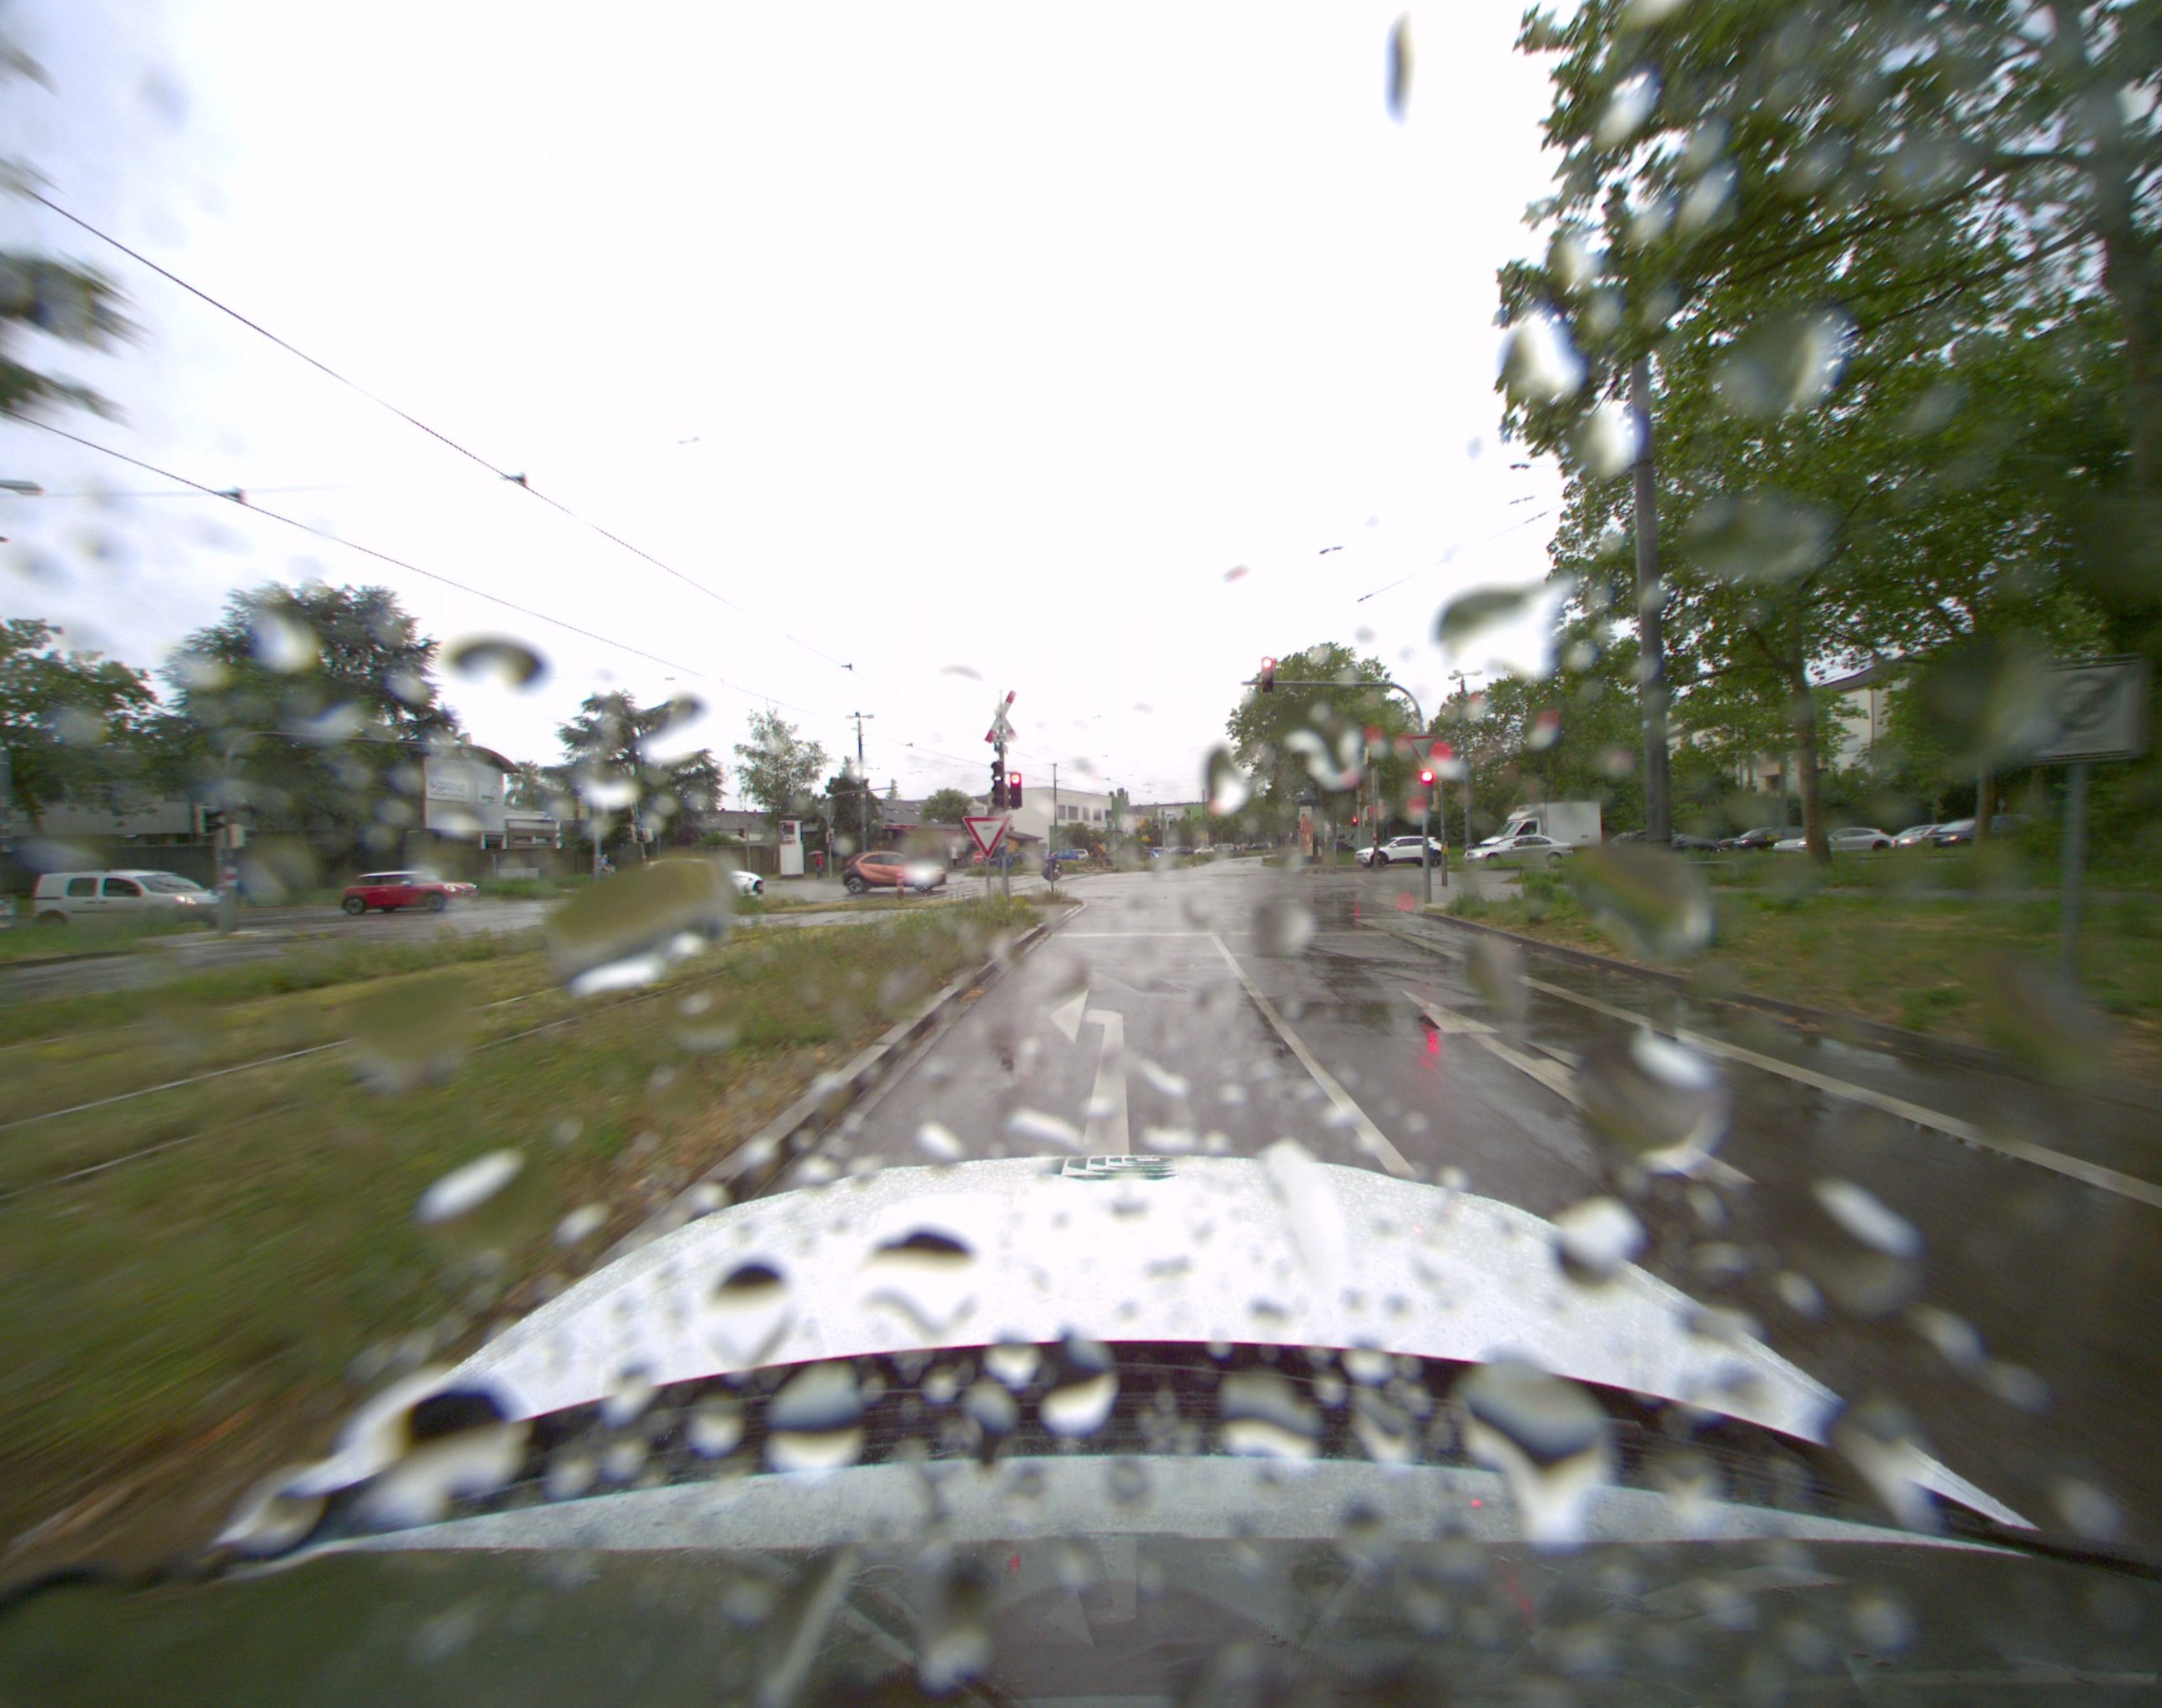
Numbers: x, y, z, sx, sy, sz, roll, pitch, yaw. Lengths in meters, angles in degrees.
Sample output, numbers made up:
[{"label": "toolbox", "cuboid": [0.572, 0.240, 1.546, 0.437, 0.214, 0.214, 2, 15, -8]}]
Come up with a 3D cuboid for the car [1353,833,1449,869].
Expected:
[{"label": "car", "cuboid": [16.948, -0.155, 43.218, 4.450, 1.656, 1.650, -2, 0, -3]}]

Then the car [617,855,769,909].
[{"label": "car", "cuboid": [-12.488, 0.884, 26.427, 4.059, 1.499, 1.649, -2, 0, -5]}]

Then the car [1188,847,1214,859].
[{"label": "car", "cuboid": [20.001, -0.105, 135.970, 4.123, 1.860, 1.672, -2, 0, -2]}]

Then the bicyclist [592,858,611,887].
[{"label": "bicyclist", "cuboid": [-28.512, 1.072, 48.402, 0.682, 1.683, 0.642, -2, 0, -1]}]

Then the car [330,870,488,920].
[{"label": "car", "cuboid": [-23.595, 1.402, 28.746, 3.911, 1.498, 1.645, -2, 1, -12]}]

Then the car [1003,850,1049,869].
[{"label": "car", "cuboid": [-4.884, 0.487, 72.077, 3.731, 1.442, 1.766, -2, 0, 6]}]

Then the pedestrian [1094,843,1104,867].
[{"label": "pedestrian", "cuboid": [1.127, 0.049, 50.665, 0.573, 1.475, 0.500, -2, 0, 3]}]

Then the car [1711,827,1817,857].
[{"label": "car", "cuboid": [36.194, -0.626, 43.211, 4.106, 1.422, 1.766, -2, 0, 1]}]

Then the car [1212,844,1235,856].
[{"label": "car", "cuboid": [26.864, -0.762, 153.524, 4.110, 1.975, 1.678, -2, 0, 9]}]

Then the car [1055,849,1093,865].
[{"label": "car", "cuboid": [-0.760, 0.272, 83.591, 3.742, 1.442, 1.760, -2, 0, -3]}]

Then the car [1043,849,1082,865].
[{"label": "car", "cuboid": [-1.821, 0.322, 80.352, 3.742, 1.442, 1.760, -2, 0, -3]}]

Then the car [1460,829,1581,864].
[{"label": "car", "cuboid": [19.529, -0.347, 36.278, 4.498, 1.390, 1.644, -2, 0, 0]}]

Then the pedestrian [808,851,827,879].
[{"label": "pedestrian", "cuboid": [-17.066, 0.719, 52.763, 0.807, 1.763, 0.898, -2, 0, -41]}]

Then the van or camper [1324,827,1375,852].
[{"label": "van or camper", "cuboid": [29.117, -1.569, 88.370, 5.175, 2.697, 2.255, 0, 1, 21]}]

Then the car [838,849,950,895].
[{"label": "car", "cuboid": [-6.964, 0.648, 30.567, 3.810, 1.499, 1.650, -2, 0, -4]}]

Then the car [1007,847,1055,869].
[{"label": "car", "cuboid": [-4.625, 0.326, 75.529, 4.110, 1.860, 1.678, -2, 0, 9]}]

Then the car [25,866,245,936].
[{"label": "car", "cuboid": [-28.307, 1.364, 24.497, 4.206, 1.796, 1.648, -2, 1, -7]}]

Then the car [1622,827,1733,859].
[{"label": "car", "cuboid": [28.670, -0.538, 39.216, 4.097, 1.390, 1.644, -2, 0, 0]}]

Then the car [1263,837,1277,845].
[{"label": "car", "cuboid": [51.179, -3.559, 220.119, 3.415, 2.013, 1.817, -2, 0, 20]}]

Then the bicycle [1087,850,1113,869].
[{"label": "bicycle", "cuboid": [1.157, 0.363, 50.659, 1.555, 1.101, 0.500, -2, 0, 3]}]

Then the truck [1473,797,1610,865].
[{"label": "truck", "cuboid": [22.227, -1.091, 39.439, 5.451, 3.058, 1.981, -2, 0, 0]}]

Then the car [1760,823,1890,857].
[{"label": "car", "cuboid": [35.680, -0.660, 39.114, 4.646, 1.422, 1.765, -2, 0, 0]}]

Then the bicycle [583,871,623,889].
[{"label": "bicycle", "cuboid": [-28.412, 1.550, 48.409, 1.953, 0.967, 0.642, -2, 0, -1]}]

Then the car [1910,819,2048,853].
[{"label": "car", "cuboid": [43.009, -0.850, 39.074, 4.646, 1.422, 1.765, -2, 0, 0]}]

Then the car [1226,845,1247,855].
[{"label": "car", "cuboid": [31.042, -0.782, 162.566, 4.110, 1.860, 1.678, -2, 0, 9]}]

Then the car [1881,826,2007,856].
[{"label": "car", "cuboid": [44.636, -0.658, 42.195, 4.646, 1.422, 1.765, -2, 0, 0]}]

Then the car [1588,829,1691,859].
[{"label": "car", "cuboid": [29.593, -0.527, 43.237, 4.184, 1.422, 1.766, -2, 0, 2]}]
